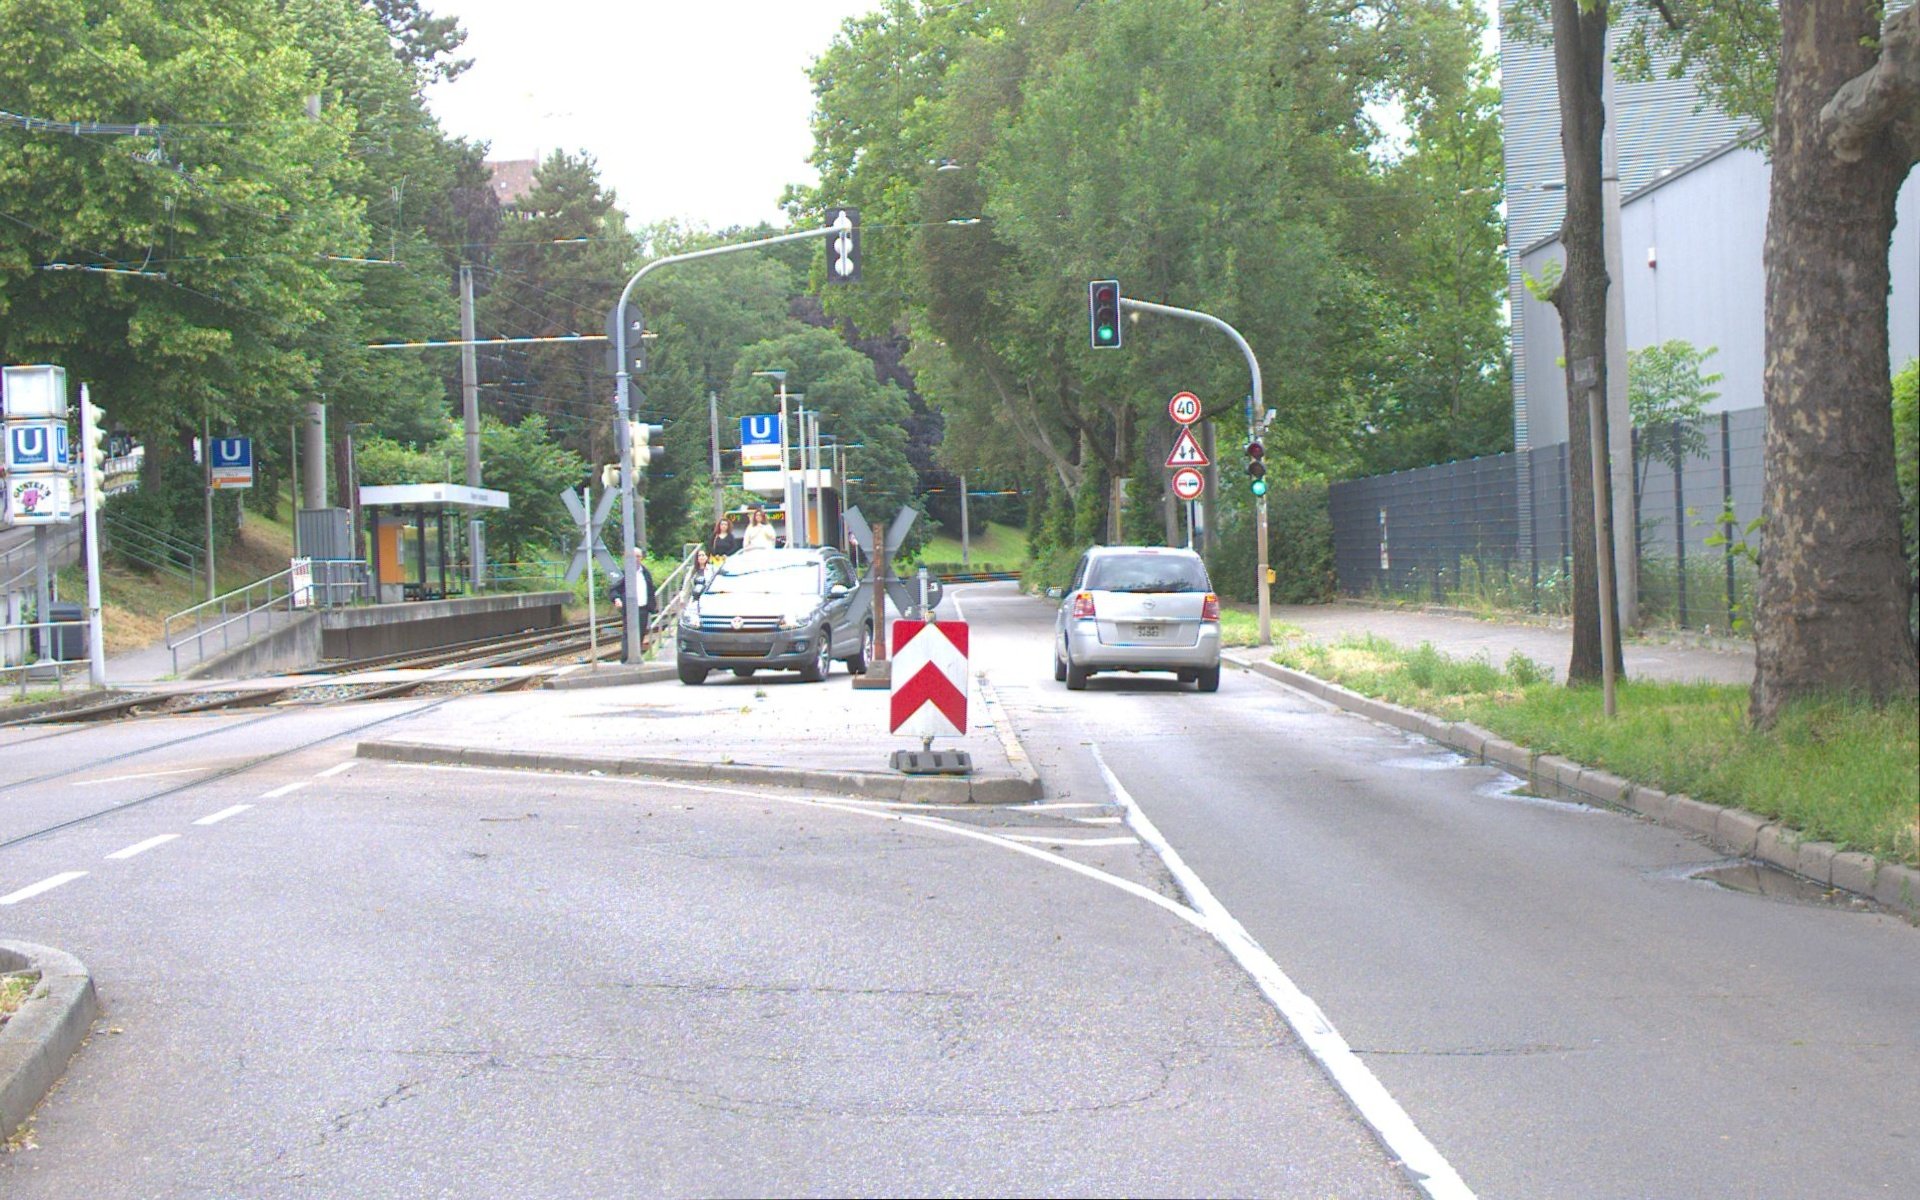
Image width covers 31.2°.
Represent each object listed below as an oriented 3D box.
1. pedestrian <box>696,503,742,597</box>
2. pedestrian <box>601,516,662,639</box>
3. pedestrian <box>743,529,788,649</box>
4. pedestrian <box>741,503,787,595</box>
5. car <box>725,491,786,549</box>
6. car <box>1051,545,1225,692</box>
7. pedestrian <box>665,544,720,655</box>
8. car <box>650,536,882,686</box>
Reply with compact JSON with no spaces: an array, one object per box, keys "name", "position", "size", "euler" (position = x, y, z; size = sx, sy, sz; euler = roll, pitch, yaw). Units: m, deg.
[{"name":"pedestrian","position":[-4.330,-0.894,61.683],"size":[0.735,1.659,0.682],"euler":[1,0,-11]},{"name":"pedestrian","position":[-4.476,-0.307,46.901],"size":[0.735,1.659,0.682],"euler":[1,0,1]},{"name":"pedestrian","position":[-2.872,-0.160,50.797],"size":[0.550,1.752,0.737],"euler":[1,0,4]},{"name":"pedestrian","position":[-3.569,-0.930,62.656],"size":[0.735,1.659,0.682],"euler":[1,0,-11]},{"name":"car","position":[-7.346,-2.850,123.711],"size":[1.993,2.007,4.000],"euler":[1,1,-1]},{"name":"car","position":[2.010,0.186,39.810],"size":[1.743,1.593,4.000],"euler":[1,1,-1]},{"name":"pedestrian","position":[-4.052,-0.015,52.037],"size":[0.735,1.659,0.682],"euler":[1,0,2]},{"name":"car","position":[-2.389,0.125,43.432],"size":[1.901,1.712,4.134],"euler":[-3,0,11]}]
